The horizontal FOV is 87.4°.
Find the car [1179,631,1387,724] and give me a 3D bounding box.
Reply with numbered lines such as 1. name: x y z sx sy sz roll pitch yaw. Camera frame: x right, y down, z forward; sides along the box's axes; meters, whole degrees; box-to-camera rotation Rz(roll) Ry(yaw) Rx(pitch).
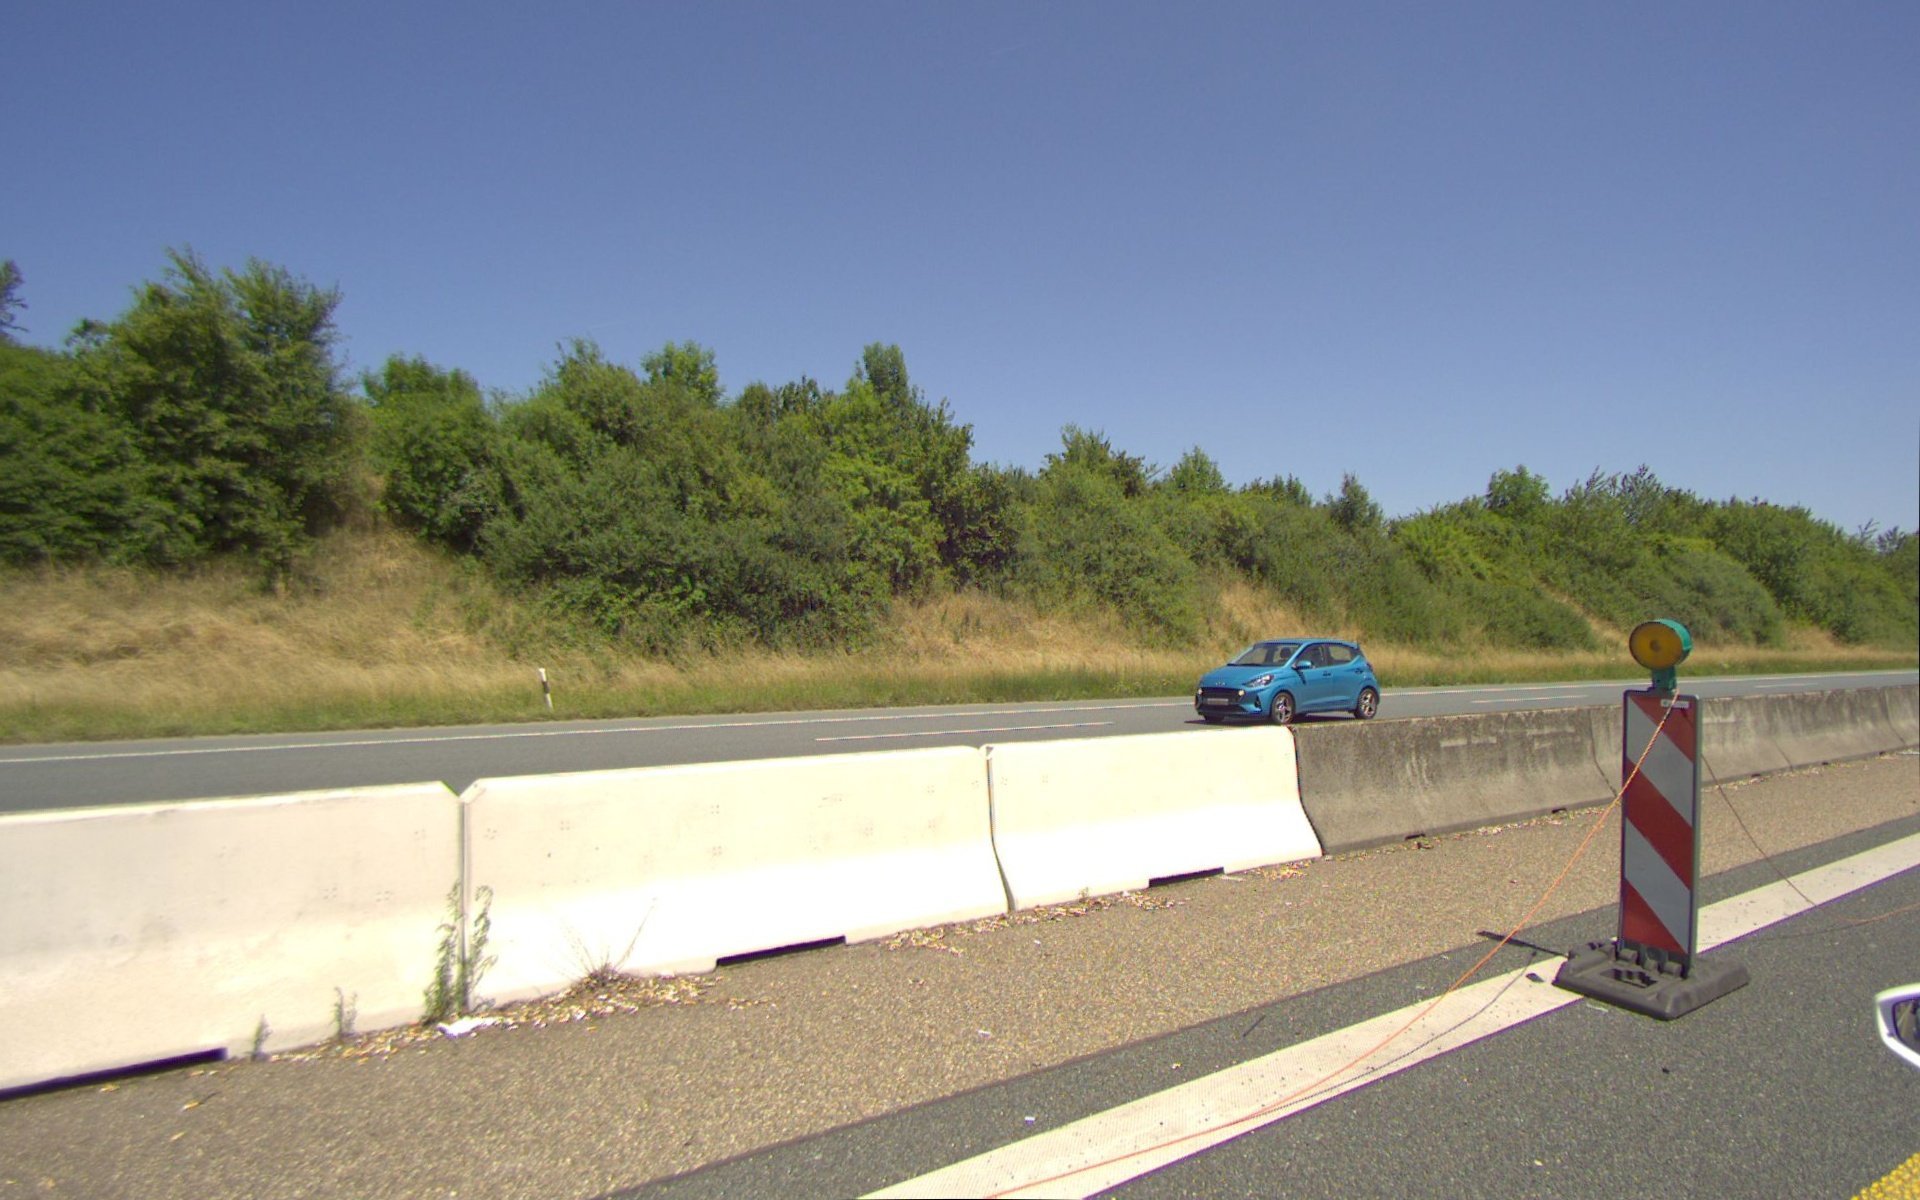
1. car: 5.925 1.389 18.372 3.444 1.537 1.878 2 -5 -35
